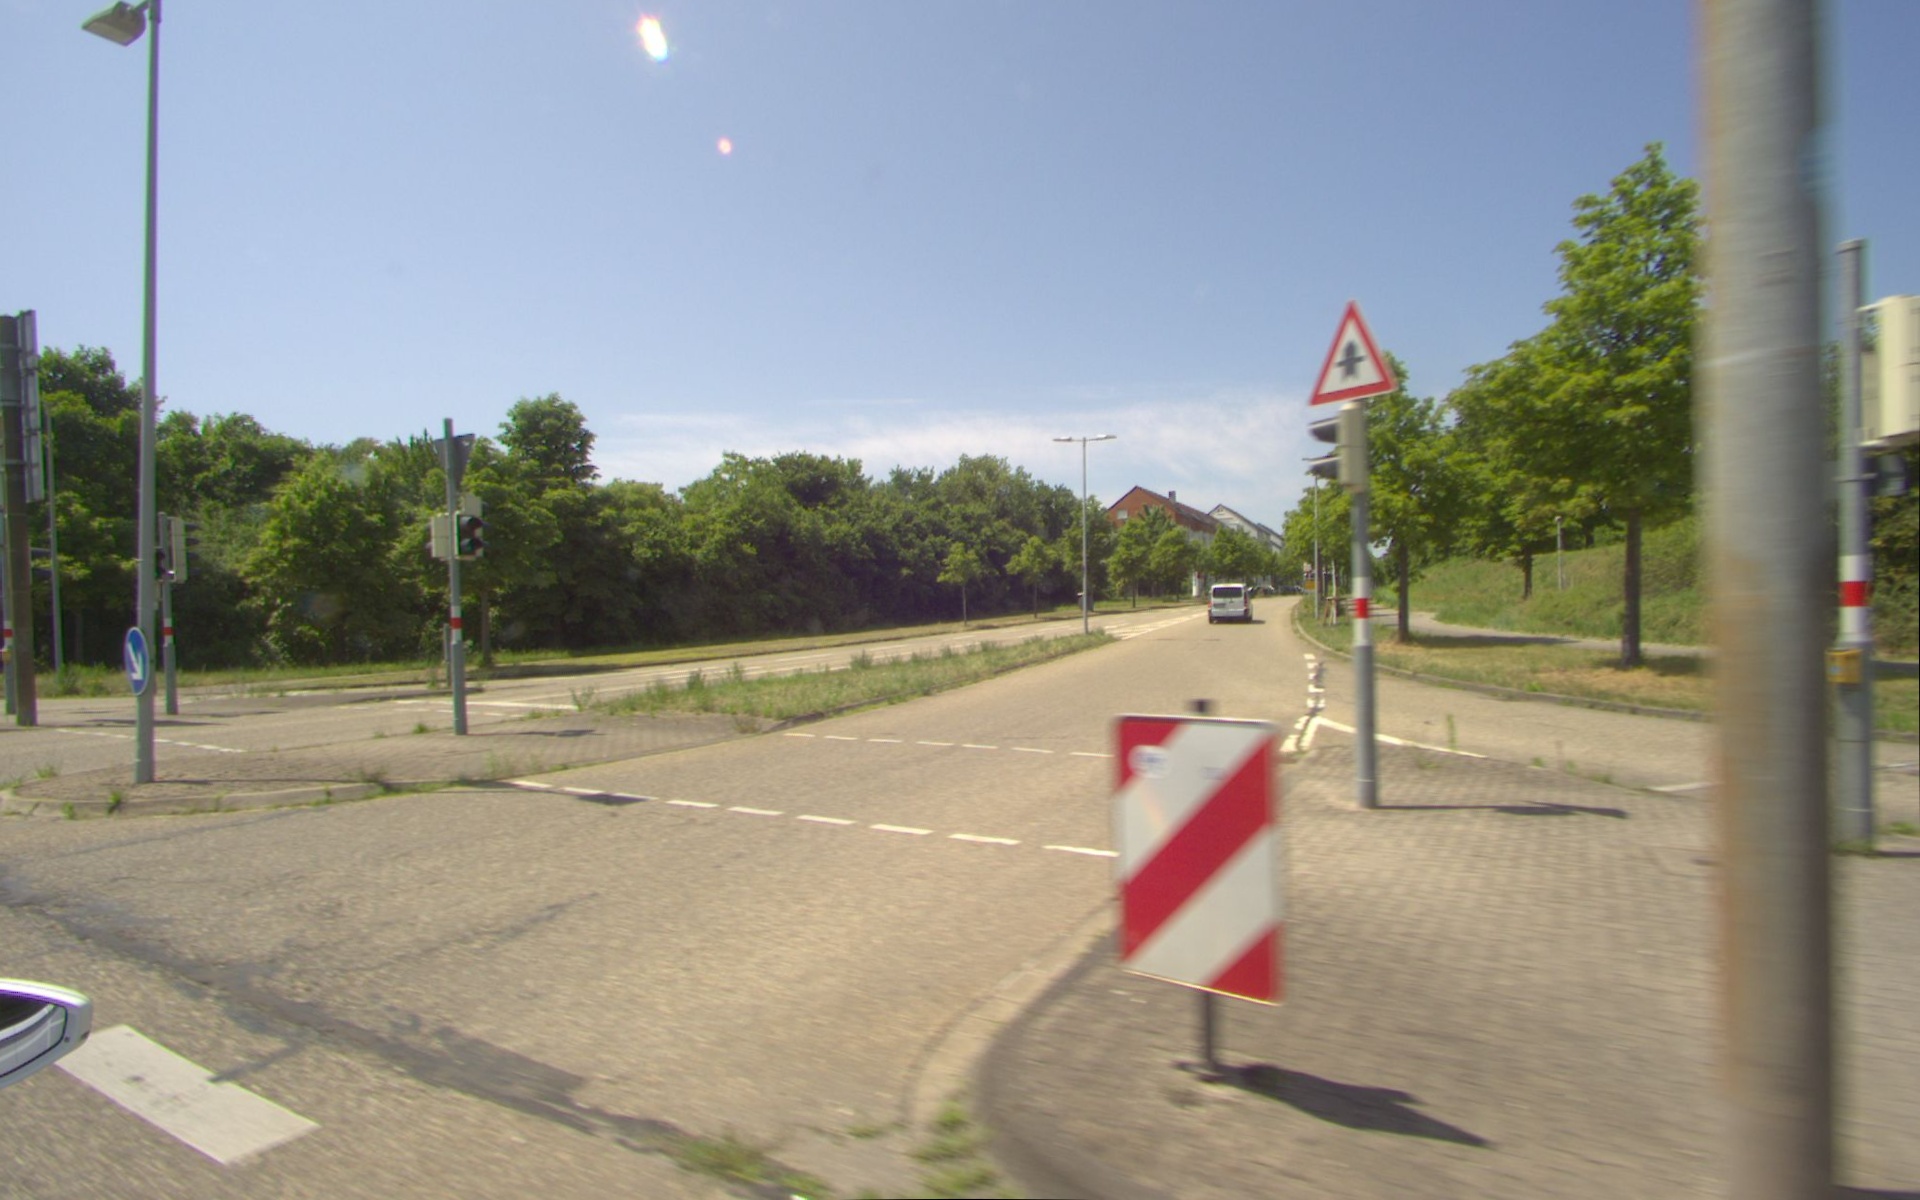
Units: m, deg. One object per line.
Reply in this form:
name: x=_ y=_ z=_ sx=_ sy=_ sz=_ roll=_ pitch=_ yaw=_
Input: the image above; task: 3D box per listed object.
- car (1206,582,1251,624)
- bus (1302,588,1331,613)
car: x=12.960 y=0.109 z=48.190 sx=1.833 sy=1.843 sz=4.897 roll=0 pitch=2 yaw=18
bus: x=47.943 y=0.112 z=134.603 sx=2.588 sy=3.127 sz=12.041 roll=-1 pitch=-1 yaw=25
